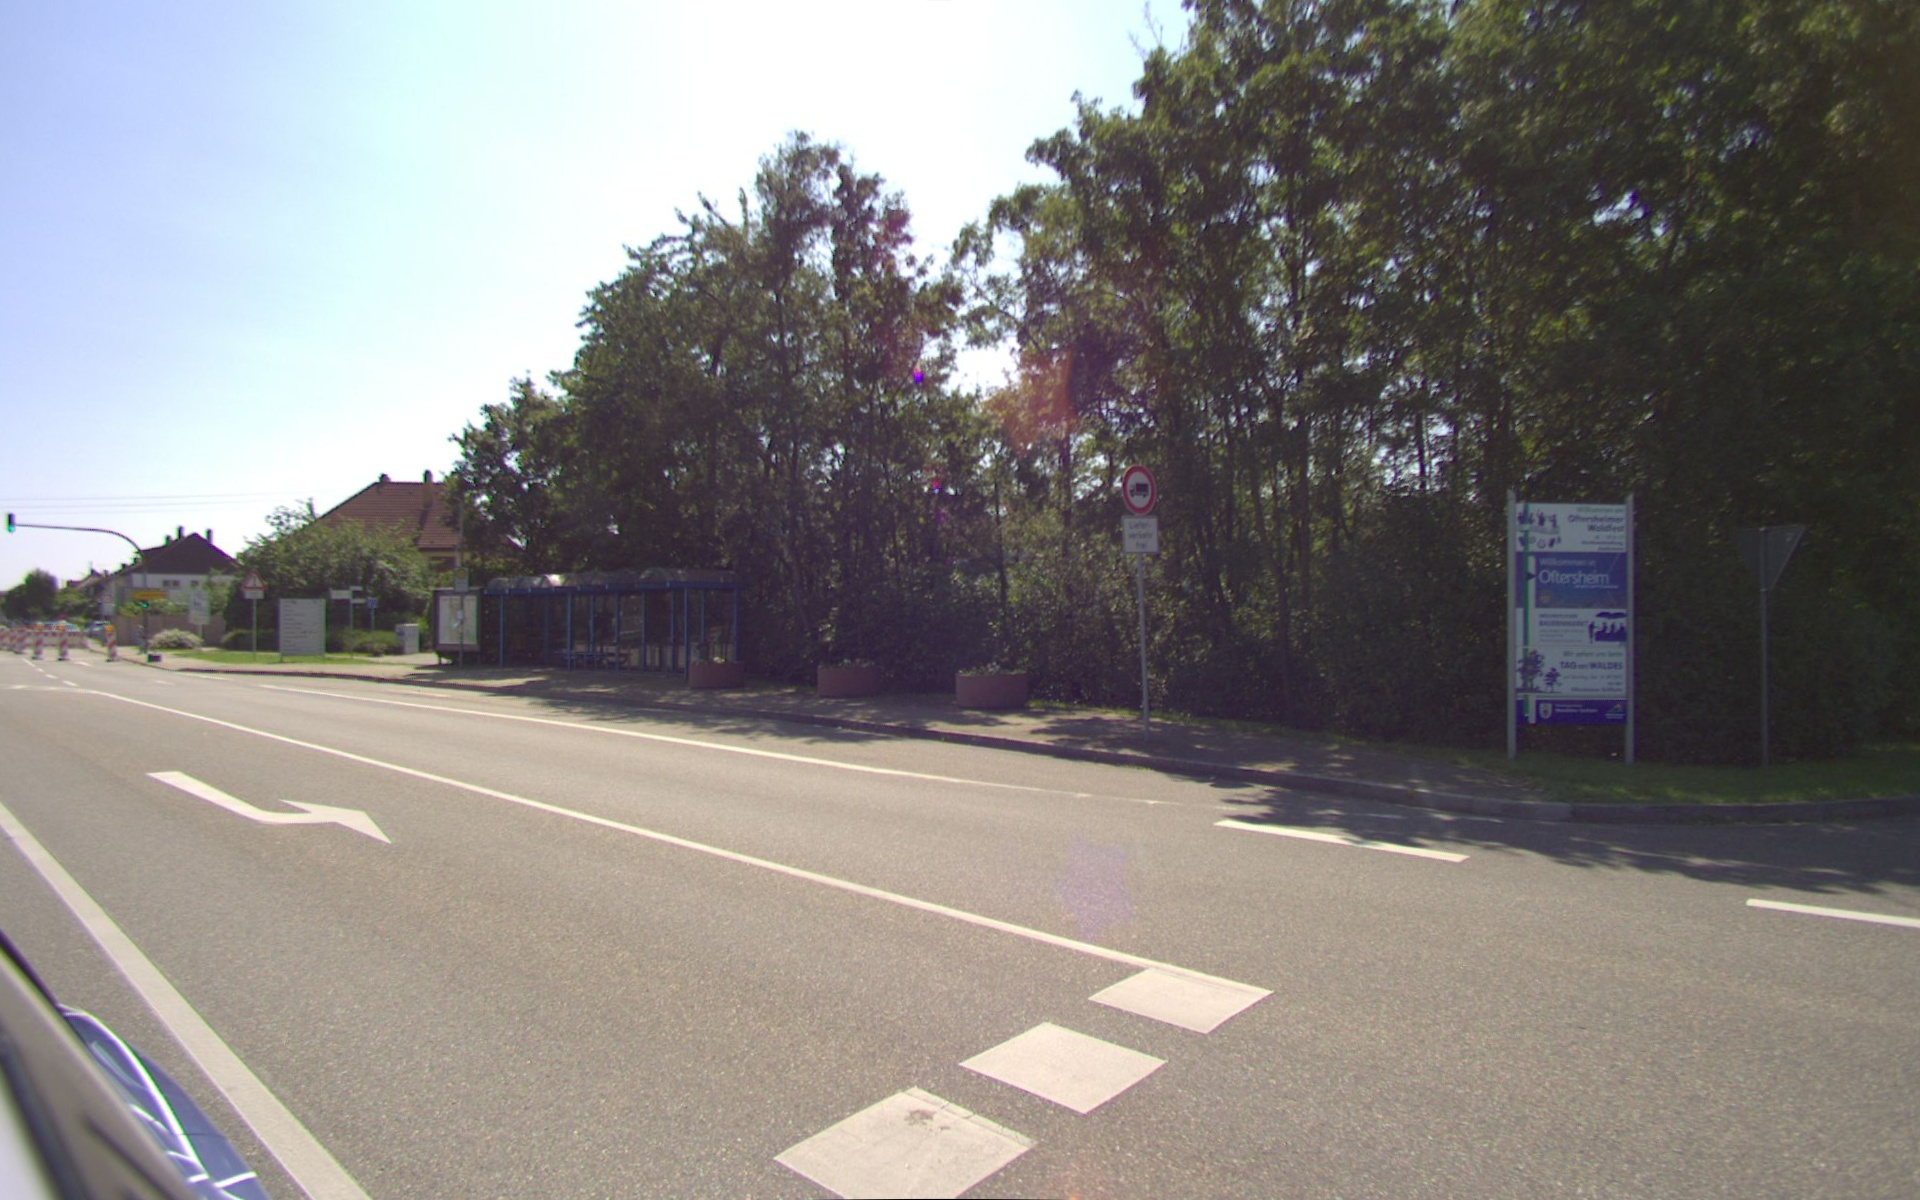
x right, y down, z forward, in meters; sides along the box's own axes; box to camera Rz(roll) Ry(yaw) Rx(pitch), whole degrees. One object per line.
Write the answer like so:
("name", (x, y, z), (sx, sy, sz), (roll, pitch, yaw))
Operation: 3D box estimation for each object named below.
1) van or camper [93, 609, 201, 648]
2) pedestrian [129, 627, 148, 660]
("van or camper", (-63.465, 2.205, 79.095), (2.286, 2.866, 6.186), (-1, -2, 36))
("pedestrian", (-41.233, 2.174, 50.805), (0.607, 1.620, 0.688), (-4, 1, -45))
